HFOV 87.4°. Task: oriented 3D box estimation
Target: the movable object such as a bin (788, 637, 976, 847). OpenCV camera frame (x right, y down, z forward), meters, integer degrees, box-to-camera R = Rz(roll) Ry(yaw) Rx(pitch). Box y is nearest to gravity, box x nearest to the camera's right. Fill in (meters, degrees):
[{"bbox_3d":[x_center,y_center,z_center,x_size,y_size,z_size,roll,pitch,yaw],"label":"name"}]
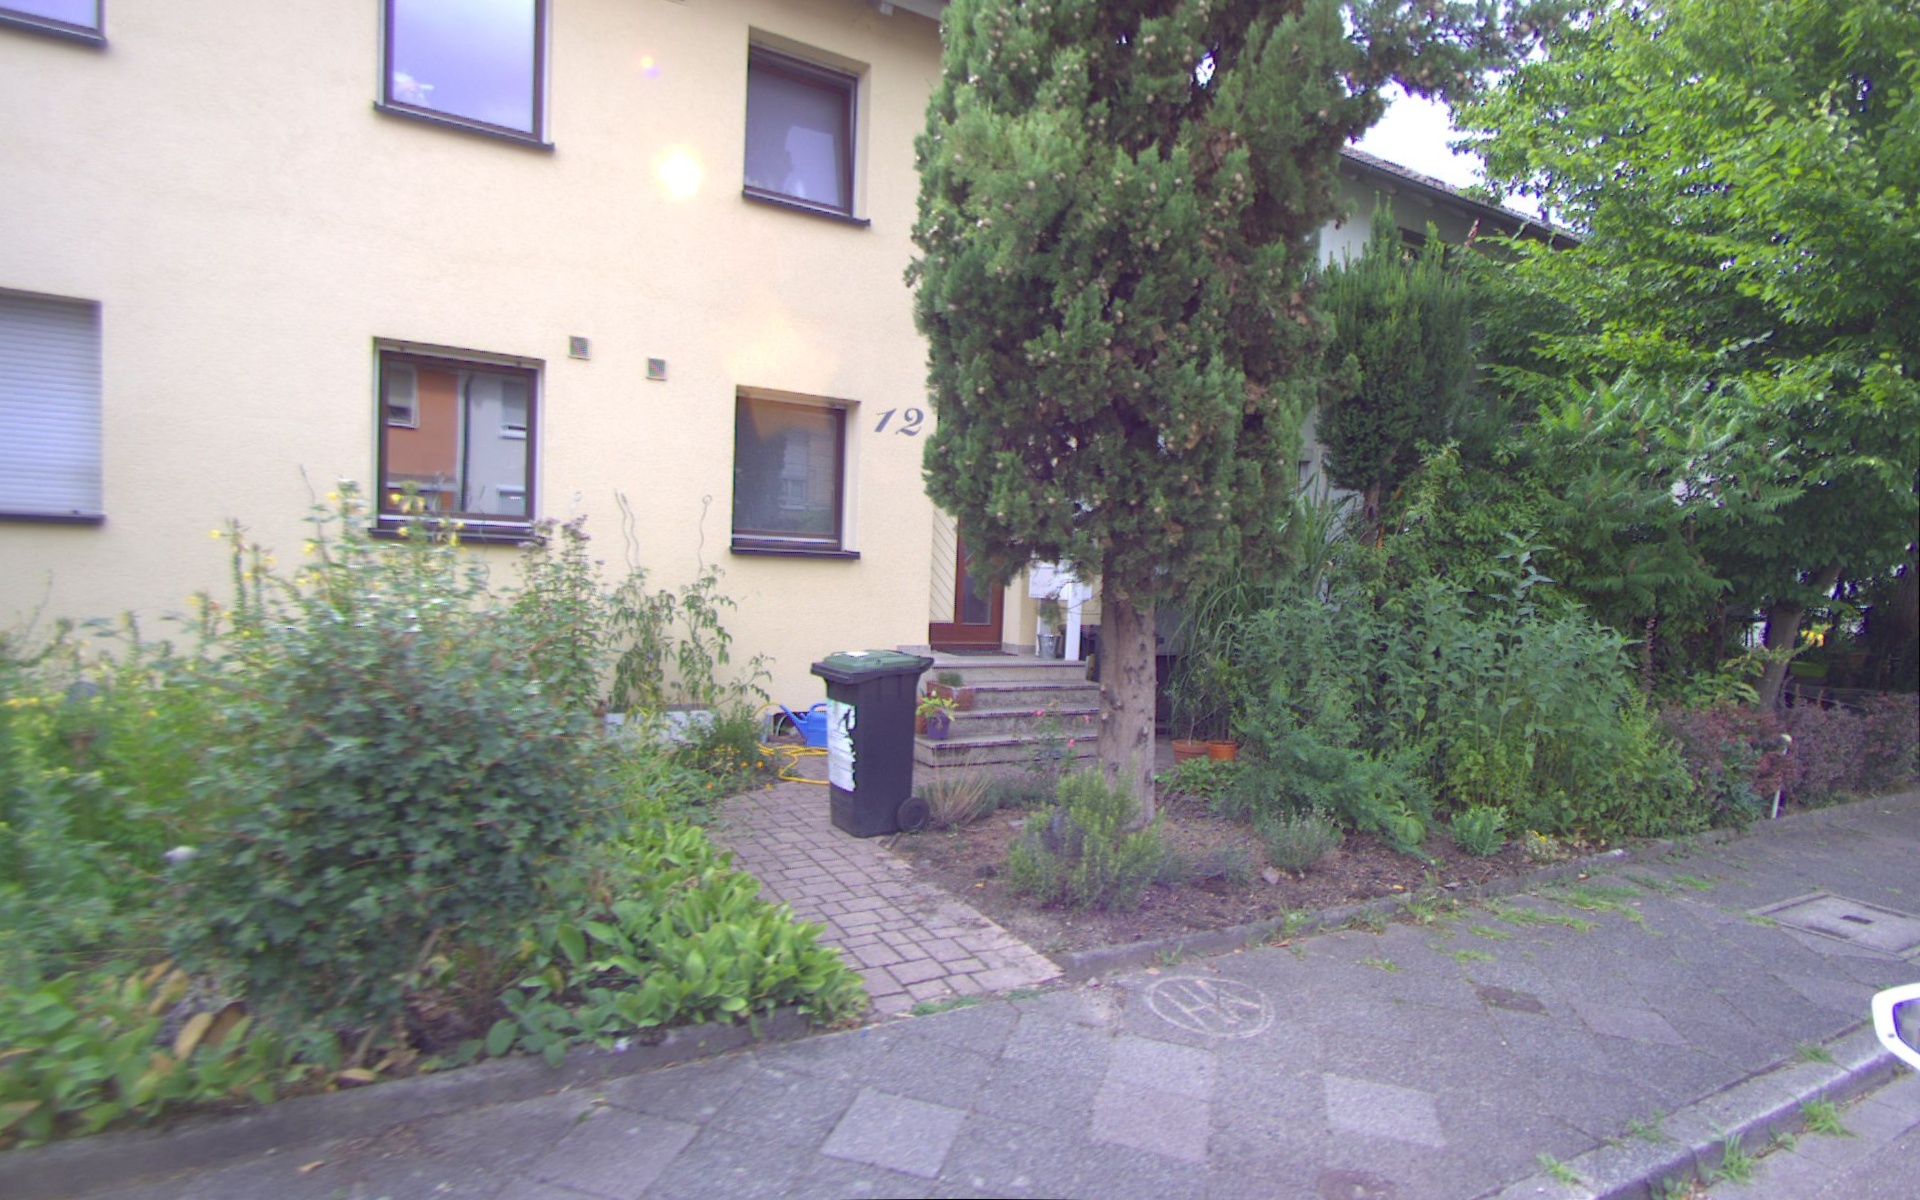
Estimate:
[{"bbox_3d":[-0.428,0.706,5.338,0.742,0.969,0.708,1,1,-30],"label":"movable object such as a bin"}]
